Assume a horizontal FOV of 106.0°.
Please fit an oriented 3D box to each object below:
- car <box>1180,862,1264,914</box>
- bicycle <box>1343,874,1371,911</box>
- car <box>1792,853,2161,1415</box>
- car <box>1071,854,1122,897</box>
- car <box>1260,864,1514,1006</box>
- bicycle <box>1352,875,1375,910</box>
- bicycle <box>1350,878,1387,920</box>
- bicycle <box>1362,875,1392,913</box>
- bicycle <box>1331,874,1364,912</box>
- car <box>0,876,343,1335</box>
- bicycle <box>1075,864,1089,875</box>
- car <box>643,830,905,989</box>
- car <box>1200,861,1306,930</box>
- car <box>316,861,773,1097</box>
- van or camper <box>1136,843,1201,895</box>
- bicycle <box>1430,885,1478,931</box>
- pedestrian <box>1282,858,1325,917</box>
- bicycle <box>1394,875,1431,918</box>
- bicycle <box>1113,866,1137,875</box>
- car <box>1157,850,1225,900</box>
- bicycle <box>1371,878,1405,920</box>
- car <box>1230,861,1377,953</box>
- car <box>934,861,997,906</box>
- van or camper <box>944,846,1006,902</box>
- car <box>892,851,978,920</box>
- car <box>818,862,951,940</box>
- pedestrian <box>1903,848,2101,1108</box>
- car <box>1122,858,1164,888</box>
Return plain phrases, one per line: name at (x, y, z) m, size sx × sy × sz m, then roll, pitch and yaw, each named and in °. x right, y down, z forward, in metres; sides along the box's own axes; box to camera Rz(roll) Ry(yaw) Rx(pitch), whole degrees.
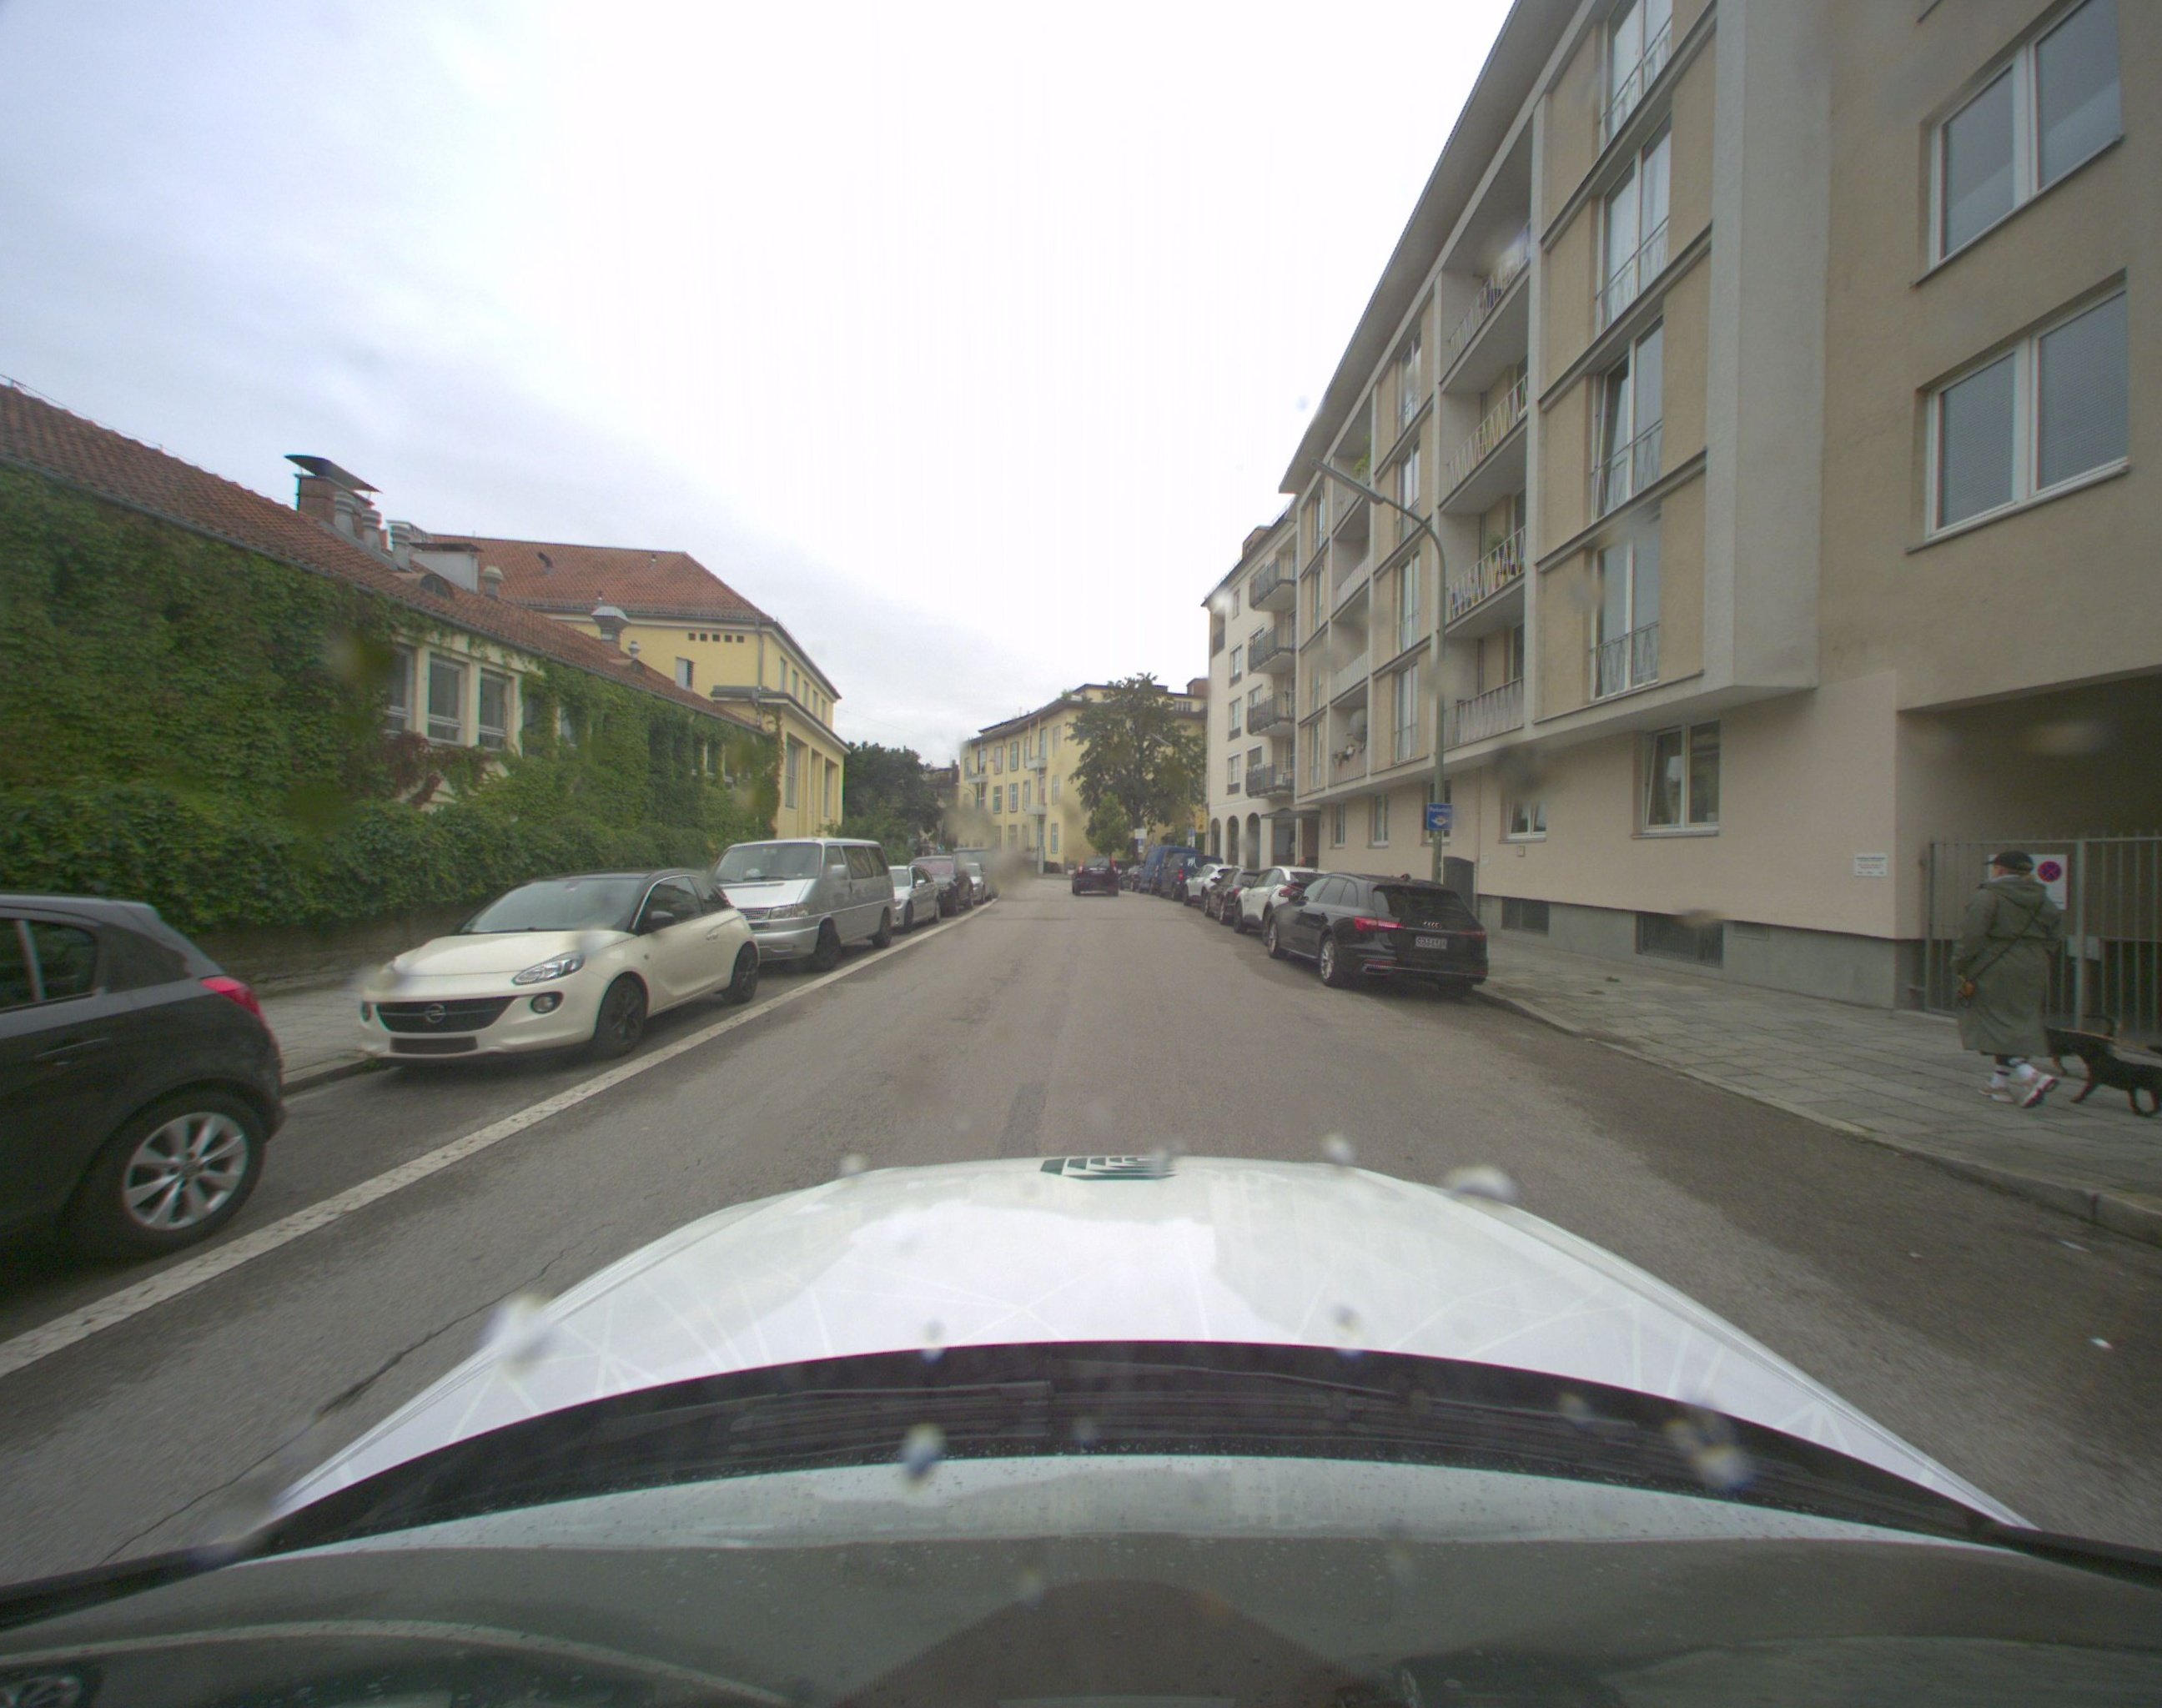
car at (4.531, 1.048, 26.853) m, size 1.736 × 1.537 × 4.266 m, roll 0°, pitch 0°, yaw -5°
bicycle at (8.260, 1.141, 24.430) m, size 0.388 × 1.024 × 1.401 m, roll -1°, pitch 0°, yaw 1°
car at (3.808, 0.821, 1.476) m, size 1.665 × 1.534 × 3.883 m, roll 3°, pitch 0°, yaw 2°
car at (0.699, 0.856, 34.701) m, size 1.987 × 1.694 × 4.382 m, roll -1°, pitch 0°, yaw 2°
car at (3.957, 0.943, 11.441) m, size 1.790 × 1.420 × 4.481 m, roll 4°, pitch 0°, yaw 0°
bicycle at (8.675, 1.187, 25.034) m, size 0.372 × 1.024 × 1.002 m, roll -1°, pitch 0°, yaw 1°
bicycle at (7.532, 1.153, 21.397) m, size 0.481 × 1.024 × 1.401 m, roll -1°, pitch 0°, yaw 1°
bicycle at (8.653, 1.154, 23.818) m, size 0.388 × 1.024 × 1.401 m, roll -1°, pitch 0°, yaw 1°
bicycle at (8.575, 1.236, 26.244) m, size 0.531 × 1.133 × 1.407 m, roll 0°, pitch 0°, yaw -3°
car at (-4.341, 0.880, 1.910) m, size 1.573 × 1.455 × 3.904 m, roll -3°, pitch 0°, yaw 0°
bicycle at (0.085, 1.465, 78.269) m, size 0.611 × 1.072 × 2.201 m, roll 0°, pitch 0°, yaw -22°
car at (-4.326, 0.694, 12.481) m, size 1.986 × 1.875 × 4.760 m, roll -3°, pitch 0°, yaw 2°
car at (4.349, 0.992, 21.287) m, size 1.733 × 1.499 × 4.494 m, roll 3°, pitch 0°, yaw 0°
car at (-4.319, 0.854, 7.348) m, size 1.573 × 1.492 × 3.730 m, roll -2°, pitch 0°, yaw 0°
van or camper at (4.050, 0.659, 38.534) m, size 2.057 × 2.231 × 5.429 m, roll -1°, pitch 0°, yaw -5°
bicycle at (8.355, 1.189, 18.300) m, size 0.443 × 0.936 × 1.401 m, roll -1°, pitch 0°, yaw 1°
pedestrian at (6.506, 0.951, 23.850) m, size 0.895 × 1.687 × 1.319 m, roll 0°, pitch 0°, yaw 0°
bicycle at (8.488, 1.078, 20.866) m, size 0.388 × 1.024 × 1.401 m, roll -1°, pitch 0°, yaw 1°
bicycle at (4.051, 1.496, 74.908) m, size 2.194 × 0.779 × 0.612 m, roll 1°, pitch -1°, yaw 14°
car at (4.328, 0.801, 32.703) m, size 1.959 × 1.816 × 4.933 m, roll -1°, pitch 0°, yaw -1°
bicycle at (8.039, 1.158, 21.382) m, size 0.388 × 1.024 × 1.401 m, roll -1°, pitch 0°, yaw 1°
car at (4.285, 0.947, 16.398) m, size 1.733 × 1.499 × 4.218 m, roll 3°, pitch 0°, yaw 0°
car at (-3.984, 0.980, 28.648) m, size 1.614 × 1.378 × 4.071 m, roll -2°, pitch 0°, yaw 0°
van or camper at (-4.261, 0.775, 33.467) m, size 1.955 × 2.065 × 4.751 m, roll -2°, pitch 0°, yaw -1°
car at (-4.054, 0.825, 23.306) m, size 1.614 × 1.730 × 4.424 m, roll -2°, pitch 0°, yaw 0°
car at (-4.217, 0.942, 18.197) m, size 1.695 × 1.423 × 4.427 m, roll -3°, pitch 0°, yaw 2°
pedestrian at (6.260, 0.800, 5.570) m, size 0.594 × 1.654 × 0.630 m, roll -2°, pitch 0°, yaw 1°
car at (3.349, 1.019, 44.528) m, size 1.700 × 1.518 × 3.952 m, roll -1°, pitch 0°, yaw -4°
